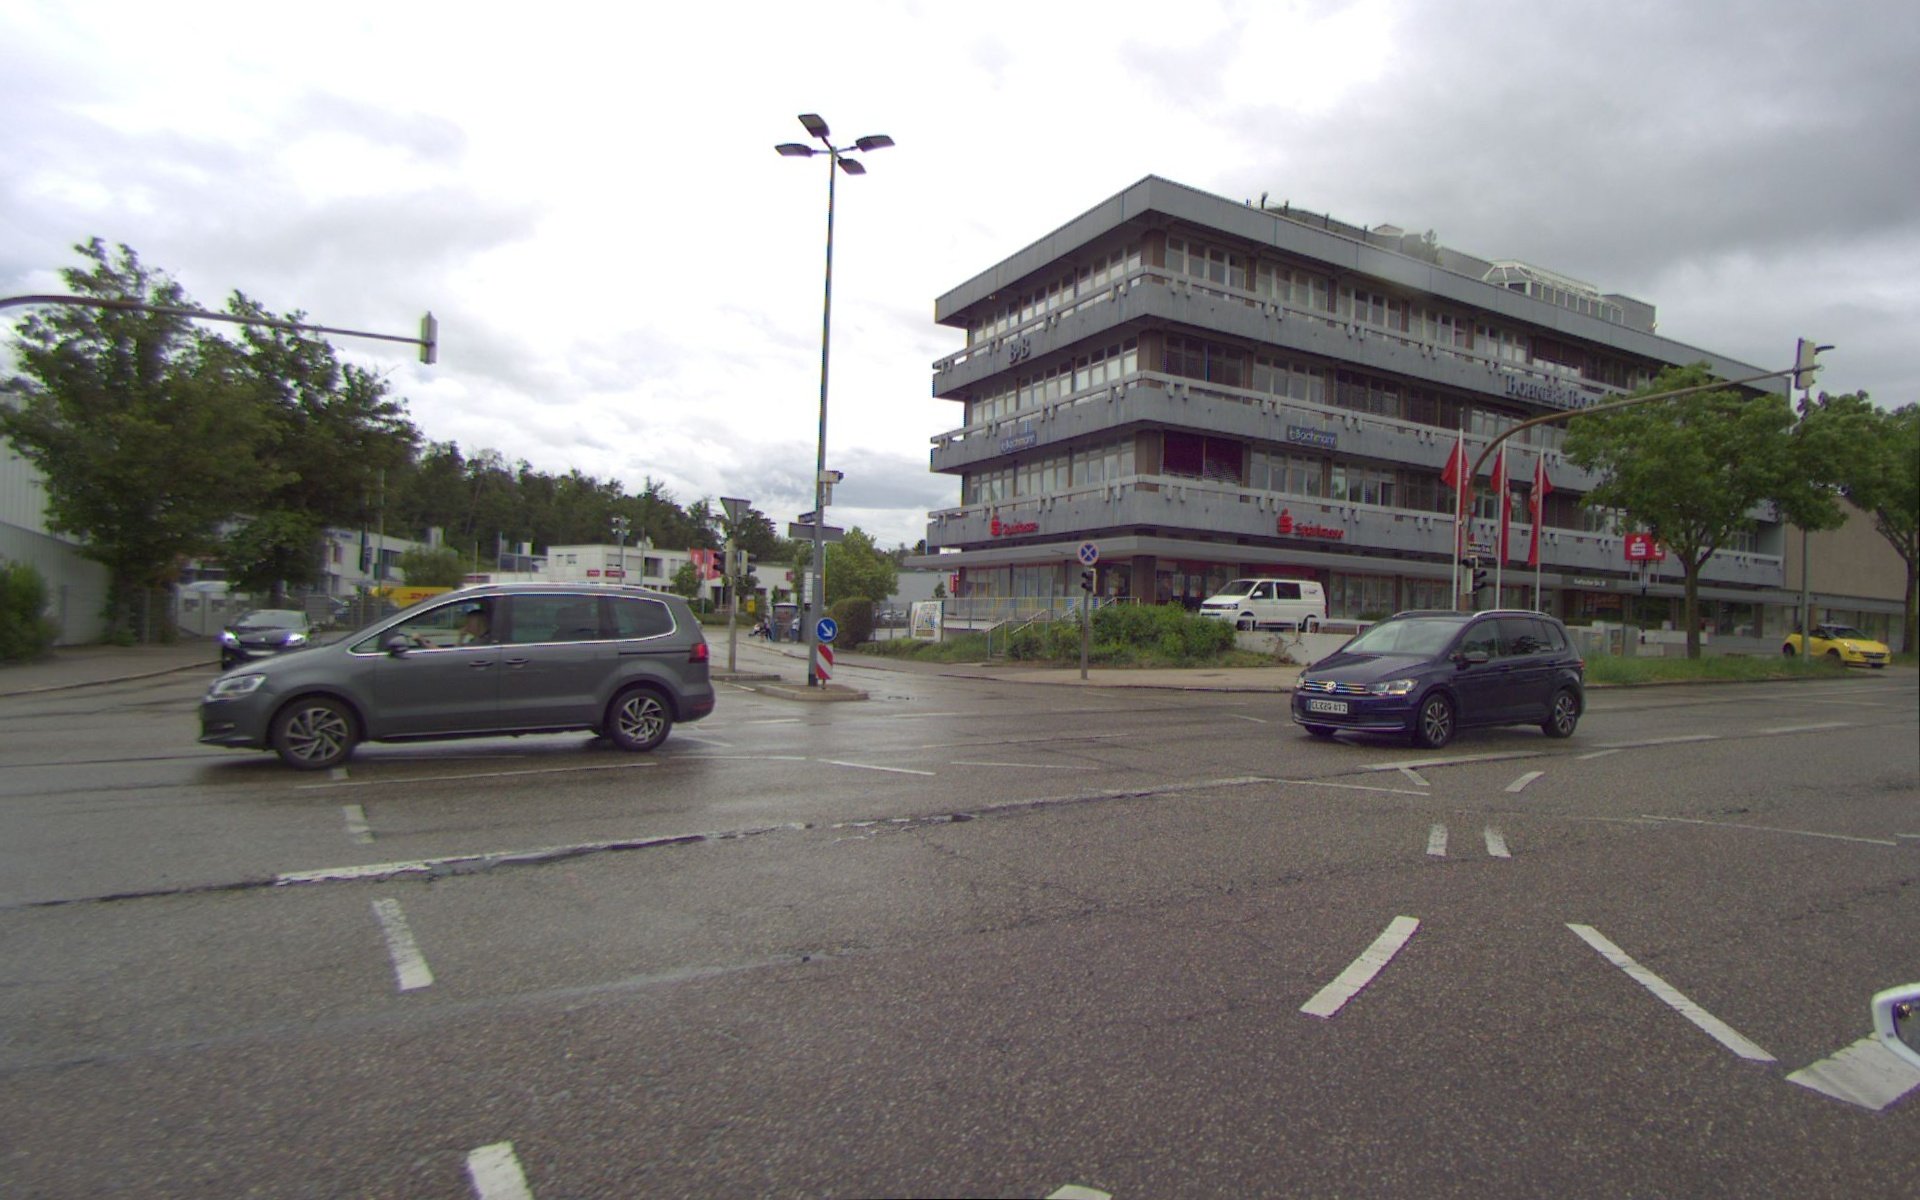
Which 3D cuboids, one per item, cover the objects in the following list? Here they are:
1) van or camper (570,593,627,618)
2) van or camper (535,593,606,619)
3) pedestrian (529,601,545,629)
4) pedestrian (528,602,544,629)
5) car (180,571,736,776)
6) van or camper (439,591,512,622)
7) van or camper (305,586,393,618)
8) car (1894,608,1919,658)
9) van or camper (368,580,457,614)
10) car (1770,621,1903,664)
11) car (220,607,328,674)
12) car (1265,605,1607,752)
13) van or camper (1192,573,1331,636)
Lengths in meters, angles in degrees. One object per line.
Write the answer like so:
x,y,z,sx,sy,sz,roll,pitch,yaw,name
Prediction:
-31.362,0.501,87.172,4.213,2.040,1.800,1,1,-43,van or camper
-31.978,0.506,82.556,5.025,2.040,1.976,1,-1,-42,van or camper
-29.316,1.021,69.681,0.731,1.911,0.724,1,-1,5,pedestrian
-29.087,1.066,68.868,0.849,1.803,0.532,1,-1,5,pedestrian
-5.016,0.679,10.609,4.827,1.750,1.901,1,-1,-31,car
-34.222,0.489,71.023,4.528,2.072,1.839,1,-1,-26,van or camper
-40.742,0.170,66.992,4.744,2.040,1.956,1,-1,-42,van or camper
41.686,1.458,42.510,3.952,2.040,1.984,3,1,-29,car
-40.398,-0.192,74.161,5.658,2.388,1.924,1,-1,-31,van or camper
33.498,1.588,38.545,1.861,1.572,4.002,0,-1,5,car
-16.731,0.942,24.683,1.796,1.509,3.962,1,-1,-29,car
6.228,0.921,13.052,4.311,1.630,1.902,1,-1,-30,car
10.741,0.162,35.678,4.733,1.993,1.984,3,1,-30,van or camper
